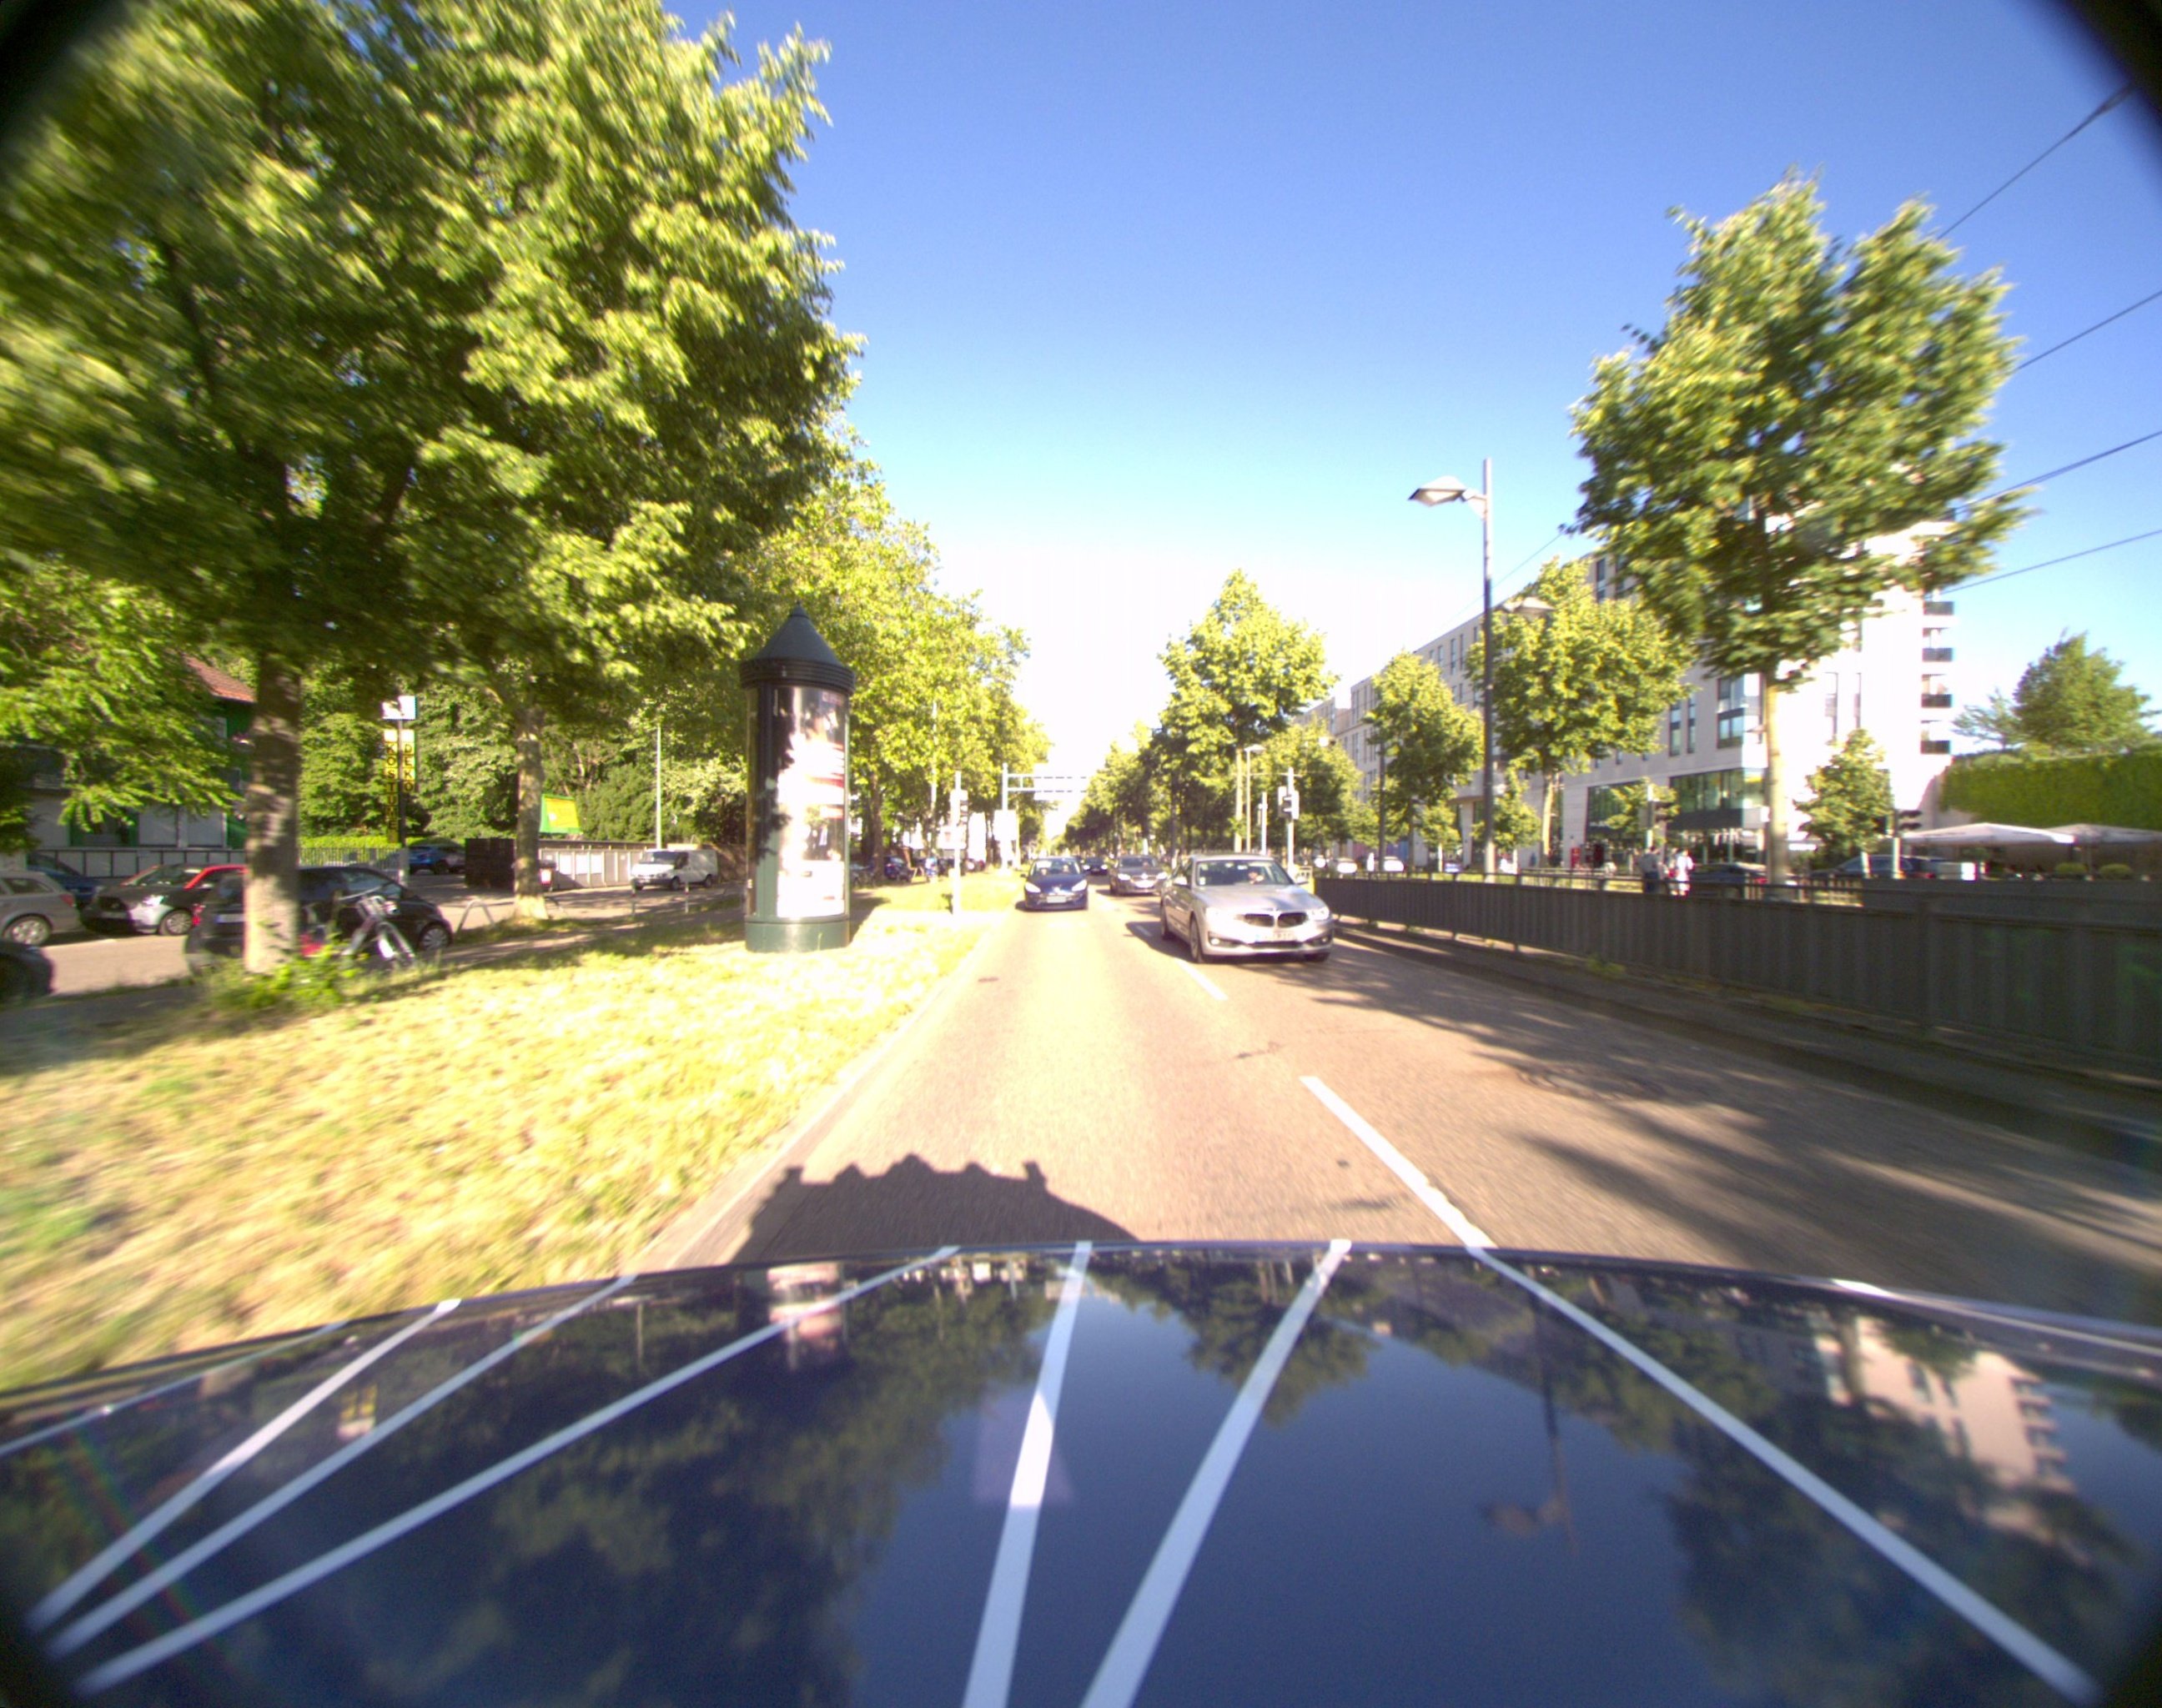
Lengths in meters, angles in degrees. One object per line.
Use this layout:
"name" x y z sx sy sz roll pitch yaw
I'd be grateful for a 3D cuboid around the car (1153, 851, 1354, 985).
"car" 2.336 0.781 11.488 1.887 1.569 4.276 -2 1 -2

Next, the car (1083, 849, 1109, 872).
"car" 1.127 0.458 57.679 1.783 1.571 3.782 -2 1 -2

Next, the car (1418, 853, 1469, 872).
"car" 29.445 0.679 61.860 1.963 1.433 4.264 -2 1 -2

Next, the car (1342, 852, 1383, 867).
"car" 28.914 0.531 78.195 1.999 1.433 4.934 -2 1 -4

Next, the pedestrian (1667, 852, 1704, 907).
"pedestrian" 16.697 0.698 20.983 0.544 1.488 0.603 -1 1 2

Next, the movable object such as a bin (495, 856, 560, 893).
"movable object such as a bin" -23.262 0.841 31.980 1.648 1.461 1.485 2 1 -3

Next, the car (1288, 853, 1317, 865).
"car" 27.853 0.596 95.613 1.999 1.433 4.776 -2 1 -4

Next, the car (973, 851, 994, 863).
"car" -12.982 0.382 100.957 2.001 1.630 3.993 -2 1 -18

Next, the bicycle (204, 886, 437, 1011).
"bicycle" -7.829 0.916 7.970 0.494 1.040 1.904 -1 1 0

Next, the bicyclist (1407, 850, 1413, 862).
"bicyclist" 34.424 0.199 79.521 0.368 1.296 0.719 -2 1 -1

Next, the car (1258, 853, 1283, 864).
"car" 27.880 0.645 111.969 1.999 1.433 4.923 -2 1 -4

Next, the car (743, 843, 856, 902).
"car" -10.710 0.598 29.466 2.195 2.002 5.818 -1 1 -1

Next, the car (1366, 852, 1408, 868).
"car" 29.347 0.530 73.064 1.999 1.433 4.453 -2 1 -4

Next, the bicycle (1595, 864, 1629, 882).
"bicycle" 37.104 1.306 53.096 0.735 1.191 2.240 -2 1 -3

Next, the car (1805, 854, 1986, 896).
"car" 30.703 0.744 28.890 1.884 1.426 4.610 0 0 -1

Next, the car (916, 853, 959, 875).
"car" -10.198 0.703 54.236 1.998 1.373 4.677 -2 0 1

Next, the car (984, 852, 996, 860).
"car" -19.246 0.447 160.980 1.998 1.477 4.402 3 1 1

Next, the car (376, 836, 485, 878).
"car" -33.762 0.131 39.582 1.998 2.002 4.000 -1 1 3

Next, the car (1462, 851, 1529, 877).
"car" 30.011 0.679 55.173 1.999 1.761 4.774 -2 1 -4

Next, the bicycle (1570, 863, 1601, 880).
"bicycle" 37.045 1.274 55.824 0.735 1.191 2.240 -2 1 -3

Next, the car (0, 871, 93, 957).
"car" -20.755 1.126 12.993 1.998 1.474 4.324 2 1 2

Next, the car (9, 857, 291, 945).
"car" -20.477 0.961 16.983 1.999 1.598 3.478 4 1 -2

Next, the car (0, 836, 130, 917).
"car" -26.254 0.546 18.344 4.094 1.840 1.849 -2 1 -1

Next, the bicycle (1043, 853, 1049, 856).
"bicycle" -10.483 0.191 228.785 1.928 0.899 0.647 0 1 1

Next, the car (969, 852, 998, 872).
"car" -8.427 0.684 66.047 1.797 1.551 4.020 -3 1 1

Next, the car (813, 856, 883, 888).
"car" -10.777 0.812 35.434 1.999 1.282 4.052 -1 1 -1

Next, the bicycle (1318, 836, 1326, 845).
"bicycle" 34.822 -1.930 109.814 0.599 1.273 1.607 -2 1 -4

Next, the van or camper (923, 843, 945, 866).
"van or camper" -18.573 0.061 96.215 1.999 2.715 4.961 3 0 -5

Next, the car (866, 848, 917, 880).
"car" -10.494 0.515 42.339 1.741 1.632 4.351 -1 1 -1

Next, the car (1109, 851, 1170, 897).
"car" 2.080 0.683 28.163 1.951 1.514 3.999 0 1 0

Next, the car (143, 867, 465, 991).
"car" -11.314 1.003 11.374 1.666 1.492 2.989 -1 1 1

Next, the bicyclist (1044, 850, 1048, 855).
"bicyclist" -10.473 -0.474 228.778 1.086 1.315 0.639 0 1 1

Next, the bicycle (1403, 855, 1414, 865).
"bicycle" 34.461 0.610 79.991 0.380 1.011 1.800 -1 1 0

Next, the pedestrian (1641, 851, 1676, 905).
"pedestrian" 16.484 0.683 21.703 0.551 1.509 0.588 -1 1 3

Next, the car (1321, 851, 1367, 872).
"car" 20.752 0.580 60.196 1.999 1.477 3.998 -2 1 -4

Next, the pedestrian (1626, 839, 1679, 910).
"pedestrian" 15.168 0.529 20.176 0.823 1.825 0.726 -2 1 -4

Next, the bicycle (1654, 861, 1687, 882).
"bicycle" 37.286 1.103 48.070 0.589 1.245 1.839 -2 1 -2

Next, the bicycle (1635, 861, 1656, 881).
"bicycle" 37.238 1.098 50.120 0.588 1.245 1.842 -1 1 20

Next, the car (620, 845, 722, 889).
"car" -19.870 0.594 37.145 2.091 2.002 4.943 0 0 3

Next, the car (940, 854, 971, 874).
"car" -9.832 0.730 59.822 1.797 1.429 3.883 -1 1 0

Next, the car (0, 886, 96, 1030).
"car" -11.731 1.089 5.822 2.004 1.376 4.745 -1 1 4

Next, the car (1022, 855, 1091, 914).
"car" -0.663 0.796 21.816 1.767 1.462 3.999 -1 1 -1

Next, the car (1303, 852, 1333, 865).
"car" 28.299 0.567 90.744 1.999 1.433 4.454 -2 1 -2
